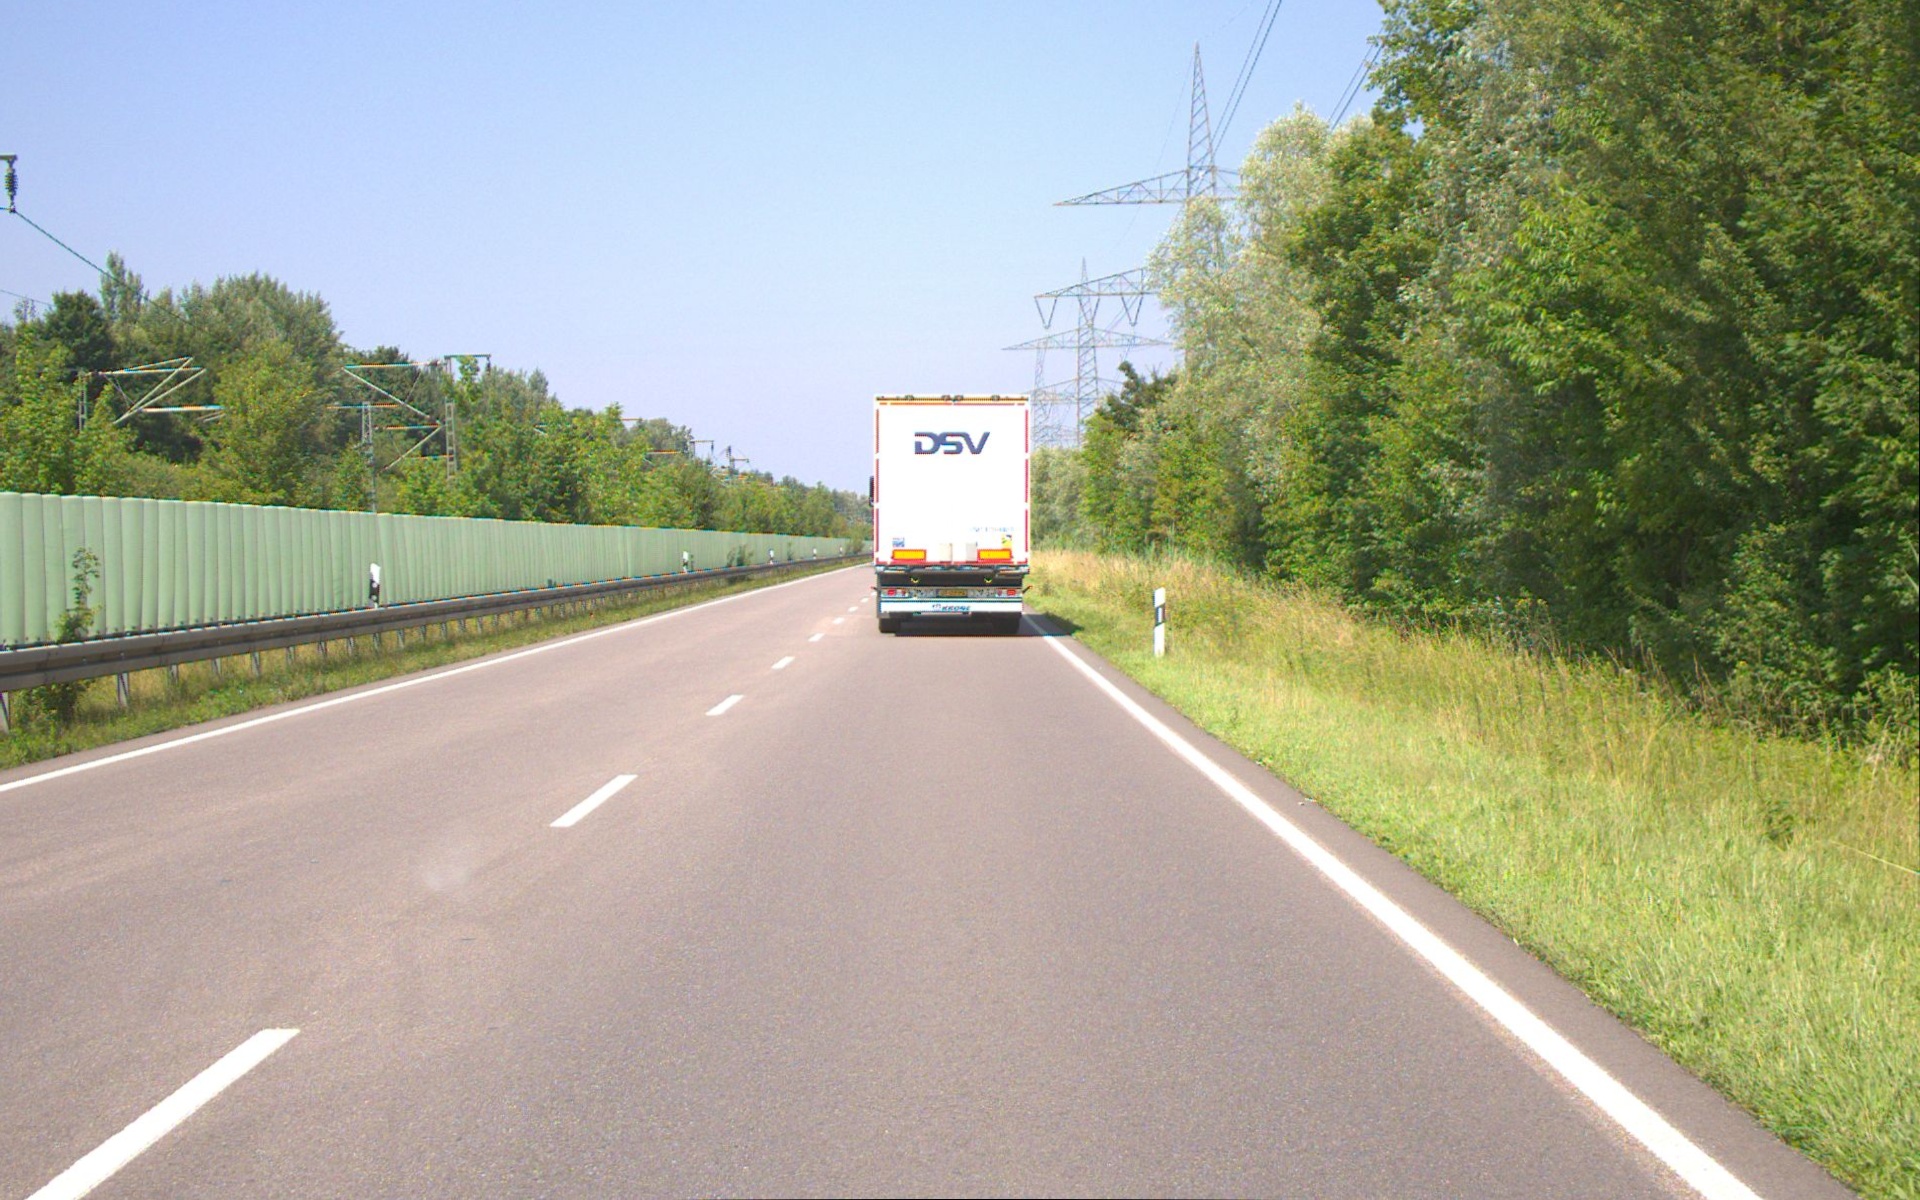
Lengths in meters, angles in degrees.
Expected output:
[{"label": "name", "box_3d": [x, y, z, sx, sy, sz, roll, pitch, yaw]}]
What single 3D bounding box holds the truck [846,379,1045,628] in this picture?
[{"label": "truck", "box_3d": [-0.316, -1.682, 61.954, 3.192, 4.029, 12.008, -1, 1, -1]}]
